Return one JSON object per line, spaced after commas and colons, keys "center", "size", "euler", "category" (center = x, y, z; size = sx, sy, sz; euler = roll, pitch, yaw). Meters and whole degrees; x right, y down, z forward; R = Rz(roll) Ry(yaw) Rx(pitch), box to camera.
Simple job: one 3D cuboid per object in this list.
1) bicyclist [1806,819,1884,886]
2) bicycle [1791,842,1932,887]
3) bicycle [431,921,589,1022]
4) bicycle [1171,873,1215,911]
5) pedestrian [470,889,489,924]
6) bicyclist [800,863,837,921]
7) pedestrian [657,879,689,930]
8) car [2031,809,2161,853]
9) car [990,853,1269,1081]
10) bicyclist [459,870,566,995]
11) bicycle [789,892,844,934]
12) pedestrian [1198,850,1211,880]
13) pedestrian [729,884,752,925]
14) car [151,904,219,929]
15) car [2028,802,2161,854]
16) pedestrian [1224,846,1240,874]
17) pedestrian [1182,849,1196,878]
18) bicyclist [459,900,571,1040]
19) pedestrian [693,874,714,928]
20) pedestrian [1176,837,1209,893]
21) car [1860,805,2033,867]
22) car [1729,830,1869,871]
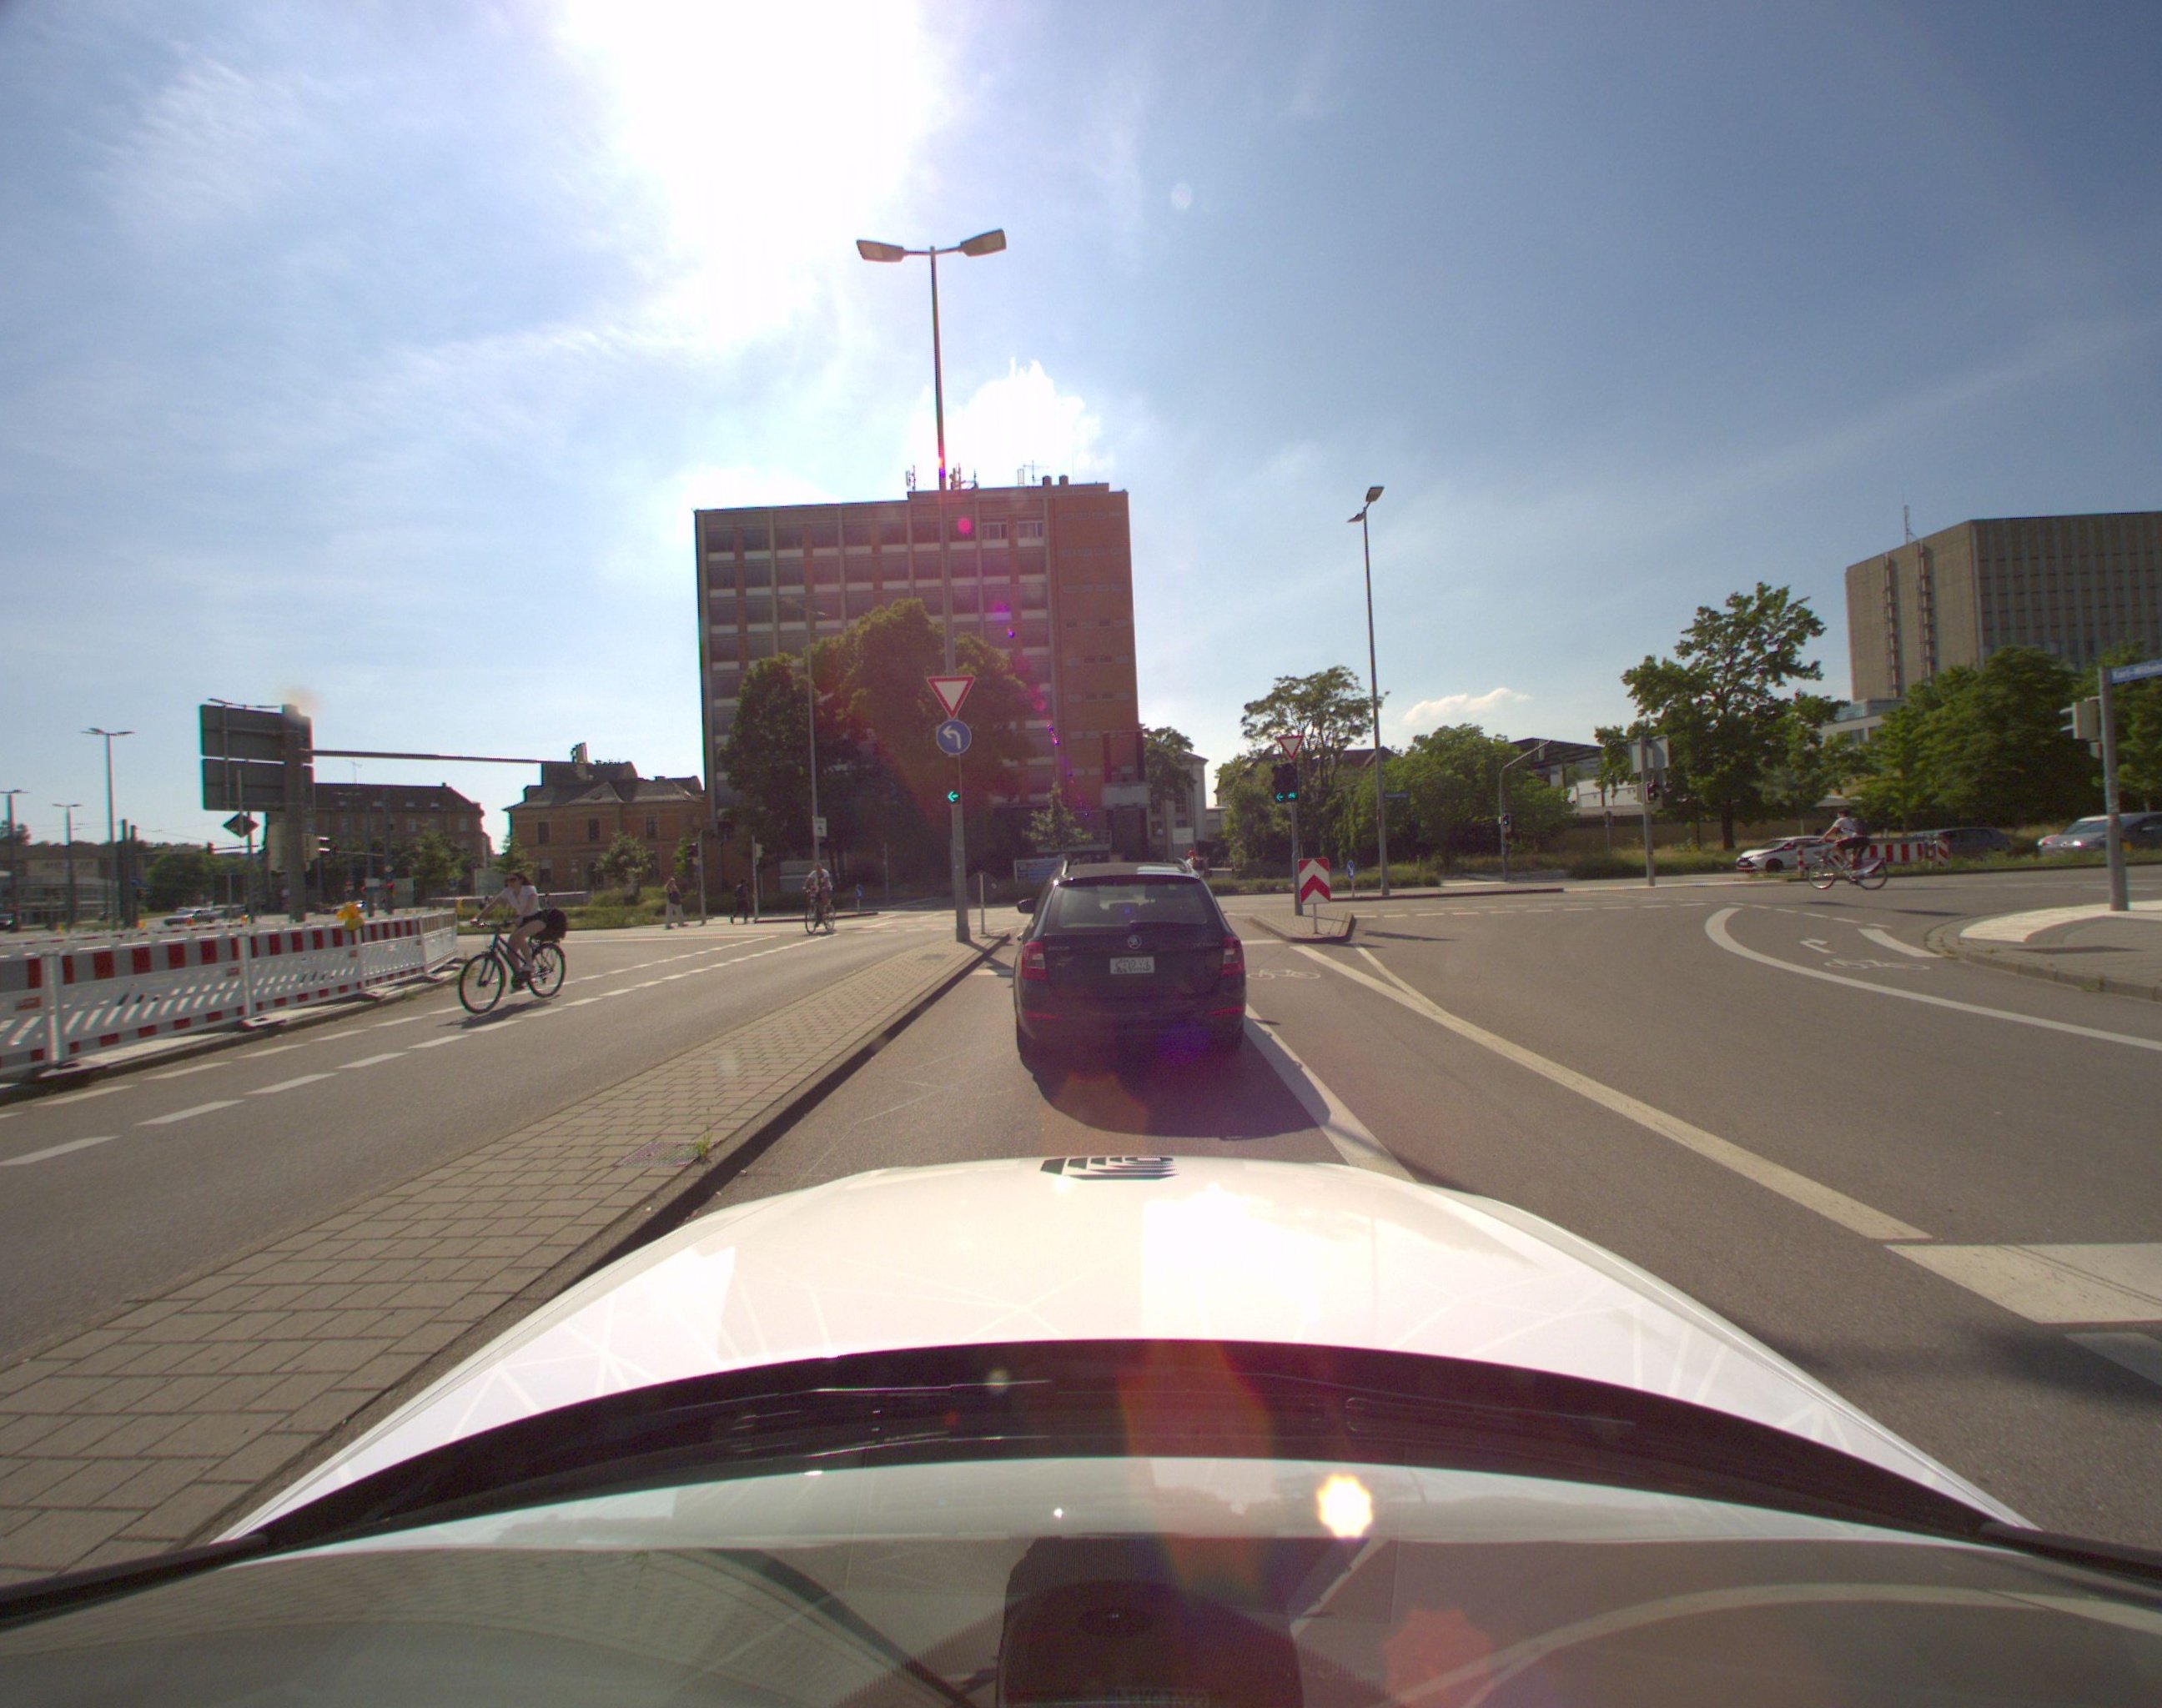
{"center": [17.173, -0.024, 18.327], "size": [0.496, 1.470, 1.135], "euler": [0, -2, -20], "category": "bicyclist"}
{"center": [17.301, 0.239, 18.137], "size": [0.675, 0.916, 2.154], "euler": [-3, -1, -20], "category": "bicycle"}
{"center": [-7.142, 1.423, 10.323], "size": [0.617, 0.961, 1.966], "euler": [-5, 0, -3], "category": "bicycle"}
{"center": [3.023, 1.008, 22.082], "size": [0.596, 0.931, 2.021], "euler": [-1, 0, -9], "category": "bicycle"}
{"center": [-36.536, 3.181, 49.465], "size": [0.624, 2.013, 0.522], "euler": [-3, -1, -3], "category": "pedestrian"}
{"center": [-6.690, 0.958, 20.780], "size": [0.537, 1.417, 1.030], "euler": [-4, -2, 0], "category": "bicyclist"}
{"center": [-14.668, 1.800, 29.327], "size": [0.737, 1.752, 1.105], "euler": [-3, -3, -14], "category": "pedestrian"}
{"center": [41.827, -0.930, 33.031], "size": [4.294, 1.569, 1.911], "euler": [-3, 0, 1], "category": "car"}
{"center": [0.390, 0.739, 7.163], "size": [1.773, 1.443, 3.820], "euler": [-1, 0, 2], "category": "car"}
{"center": [-7.183, 0.958, 10.328], "size": [0.617, 1.443, 0.919], "euler": [-5, -1, -3], "category": "bicyclist"}
{"center": [-6.733, 1.484, 20.848], "size": [0.702, 0.977, 2.030], "euler": [-3, -2, 0], "category": "bicycle"}
{"center": [7.876, 0.697, 51.903], "size": [0.634, 1.874, 0.797], "euler": [-4, 0, 1], "category": "pedestrian"}
{"center": [-12.799, 1.880, 30.633], "size": [0.632, 1.491, 0.614], "euler": [-3, -1, -15], "category": "pedestrian"}
{"center": [-86.024, 5.974, 78.275], "size": [1.986, 2.013, 4.002], "euler": [-3, -1, 2], "category": "car"}
{"center": [33.007, -0.848, 25.623], "size": [4.074, 1.406, 1.642], "euler": [-3, -2, 7], "category": "car"}
{"center": [10.570, 0.436, 56.996], "size": [0.786, 1.874, 0.642], "euler": [-4, 0, 24], "category": "pedestrian"}
{"center": [7.008, 0.624, 52.882], "size": [0.591, 1.874, 0.642], "euler": [-3, -1, 25], "category": "pedestrian"}
{"center": [-7.142, 1.423, 10.323], "size": [0.617, 1.581, 1.013], "euler": [-5, -1, -3], "category": "bicyclist"}
{"center": [-14.219, 1.754, 30.680], "size": [0.618, 2.014, 0.679], "euler": [0, -2, -36], "category": "pedestrian"}
{"center": [3.009, 0.299, 22.009], "size": [0.583, 1.466, 1.010], "euler": [-1, -1, -8], "category": "pedestrian"}
{"center": [32.210, -0.632, 30.435], "size": [3.966, 2.014, 2.004], "euler": [-3, -2, 7], "category": "car"}
{"center": [29.800, -0.116, 33.910], "size": [3.972, 1.464, 2.000], "euler": [-3, -2, 1], "category": "car"}
